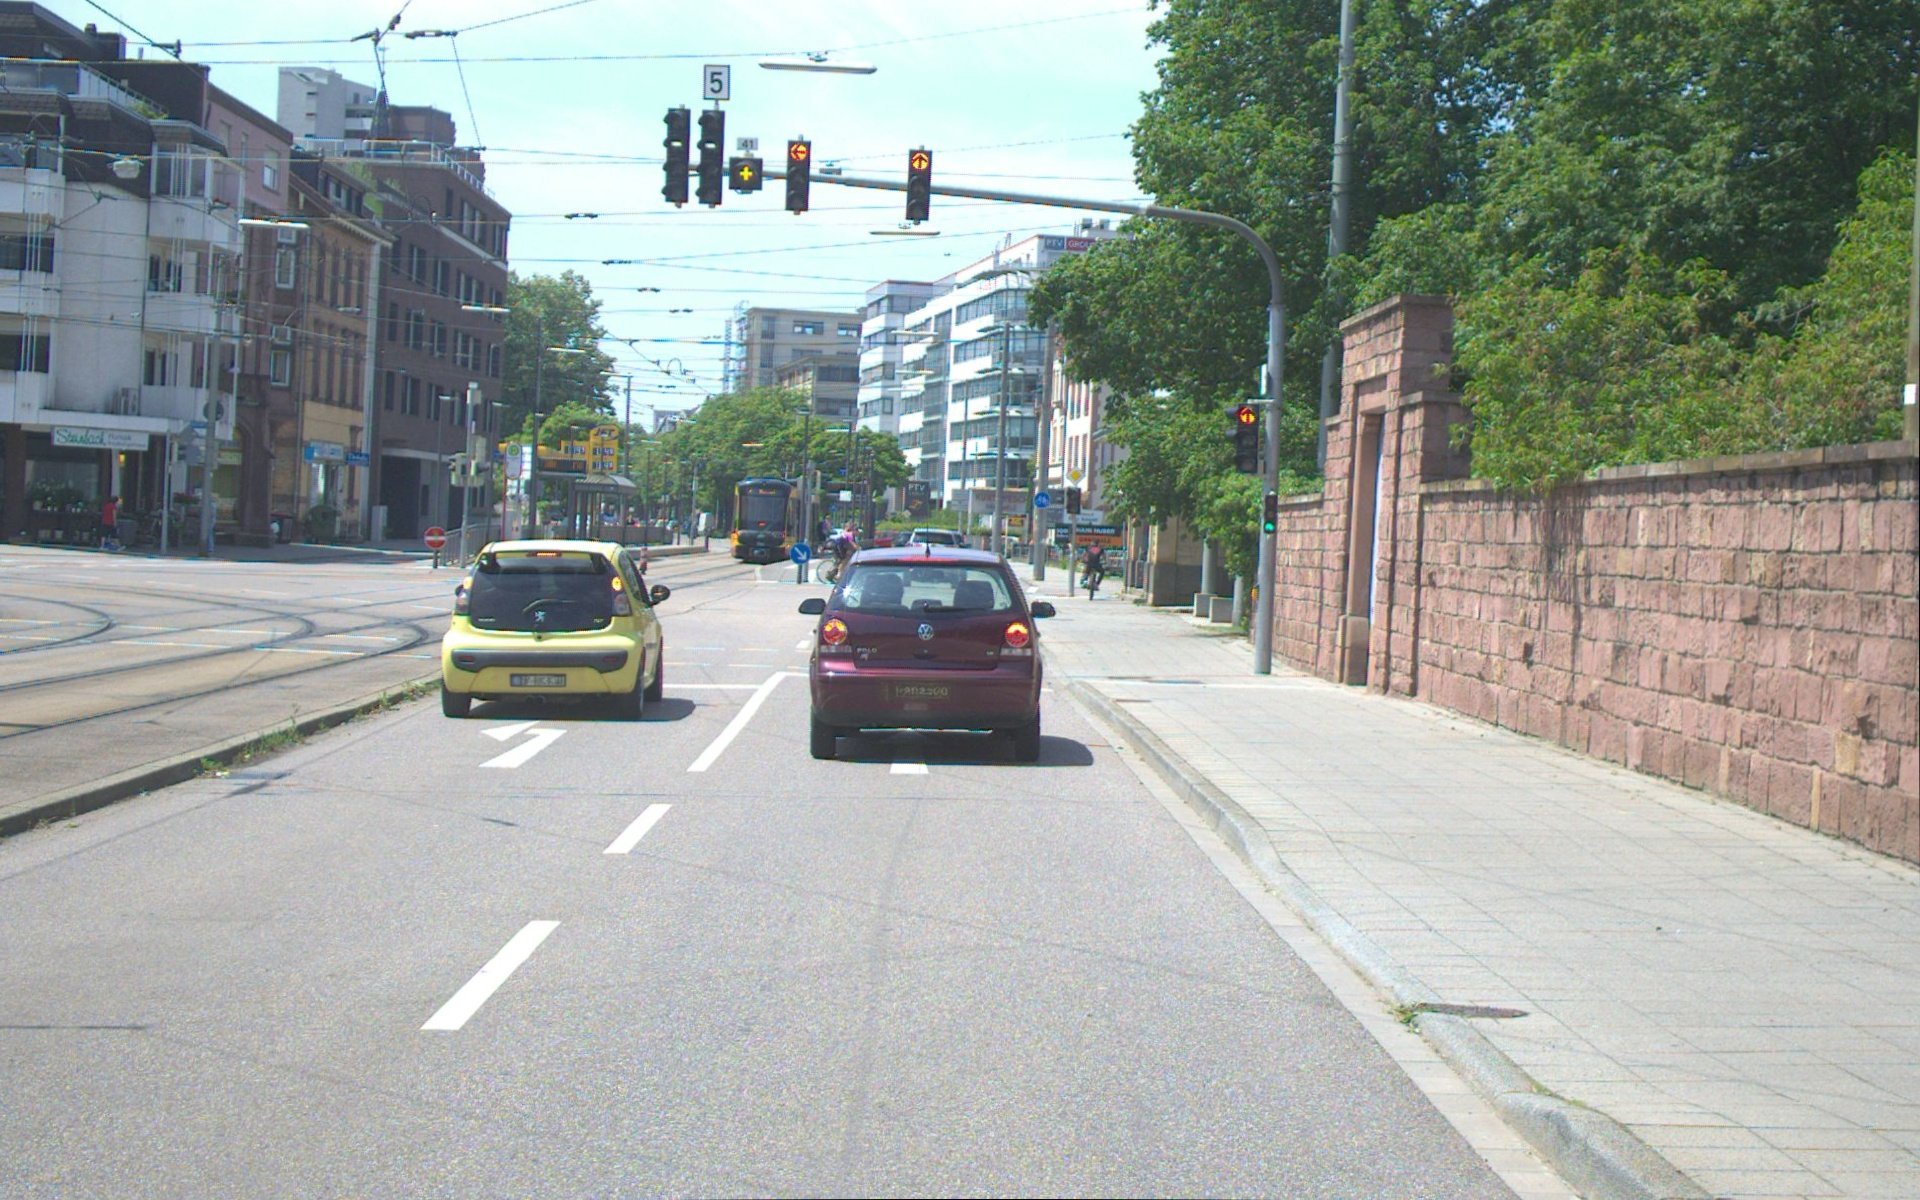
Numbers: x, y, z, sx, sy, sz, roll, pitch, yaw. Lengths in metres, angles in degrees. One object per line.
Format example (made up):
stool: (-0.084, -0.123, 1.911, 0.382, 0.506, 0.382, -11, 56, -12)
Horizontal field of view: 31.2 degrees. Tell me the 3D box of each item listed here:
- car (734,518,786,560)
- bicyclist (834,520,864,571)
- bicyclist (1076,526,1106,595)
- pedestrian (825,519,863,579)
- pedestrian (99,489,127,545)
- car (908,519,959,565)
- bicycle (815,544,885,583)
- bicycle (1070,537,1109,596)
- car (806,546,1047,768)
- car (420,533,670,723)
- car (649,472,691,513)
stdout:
car: (-8.184, -2.499, 140.926, 1.938, 1.635, 4.000, 1, 0, -1)
bicyclist: (-3.068, -1.506, 94.889, 0.765, 1.401, 0.506, 1, 0, -4)
bicyclist: (3.454, -1.040, 90.836, 0.721, 1.812, 0.888, 1, 0, 0)
pedestrian: (-3.281, -1.448, 97.291, 0.981, 1.655, 0.919, 3, 1, -3)
pedestrian: (-23.502, -2.301, 95.445, 0.484, 1.535, 0.537, 2, 0, 37)
car: (-0.842, -1.831, 108.143, 1.572, 1.411, 3.720, 0, 1, -1)
bicycle: (-3.041, -1.006, 94.912, 1.865, 1.004, 0.579, 1, 0, -4)
bicycle: (3.459, -0.898, 92.128, 0.835, 1.520, 4.000, 1, 0, 0)
car: (-0.251, 0.350, 25.177, 1.610, 1.458, 4.086, 0, 1, -1)
car: (-3.428, 0.190, 28.885, 1.723, 1.440, 3.293, 1, 2, -1)
car: (-15.027, -5.554, 178.268, 1.735, 2.007, 4.000, 3, 1, 0)
